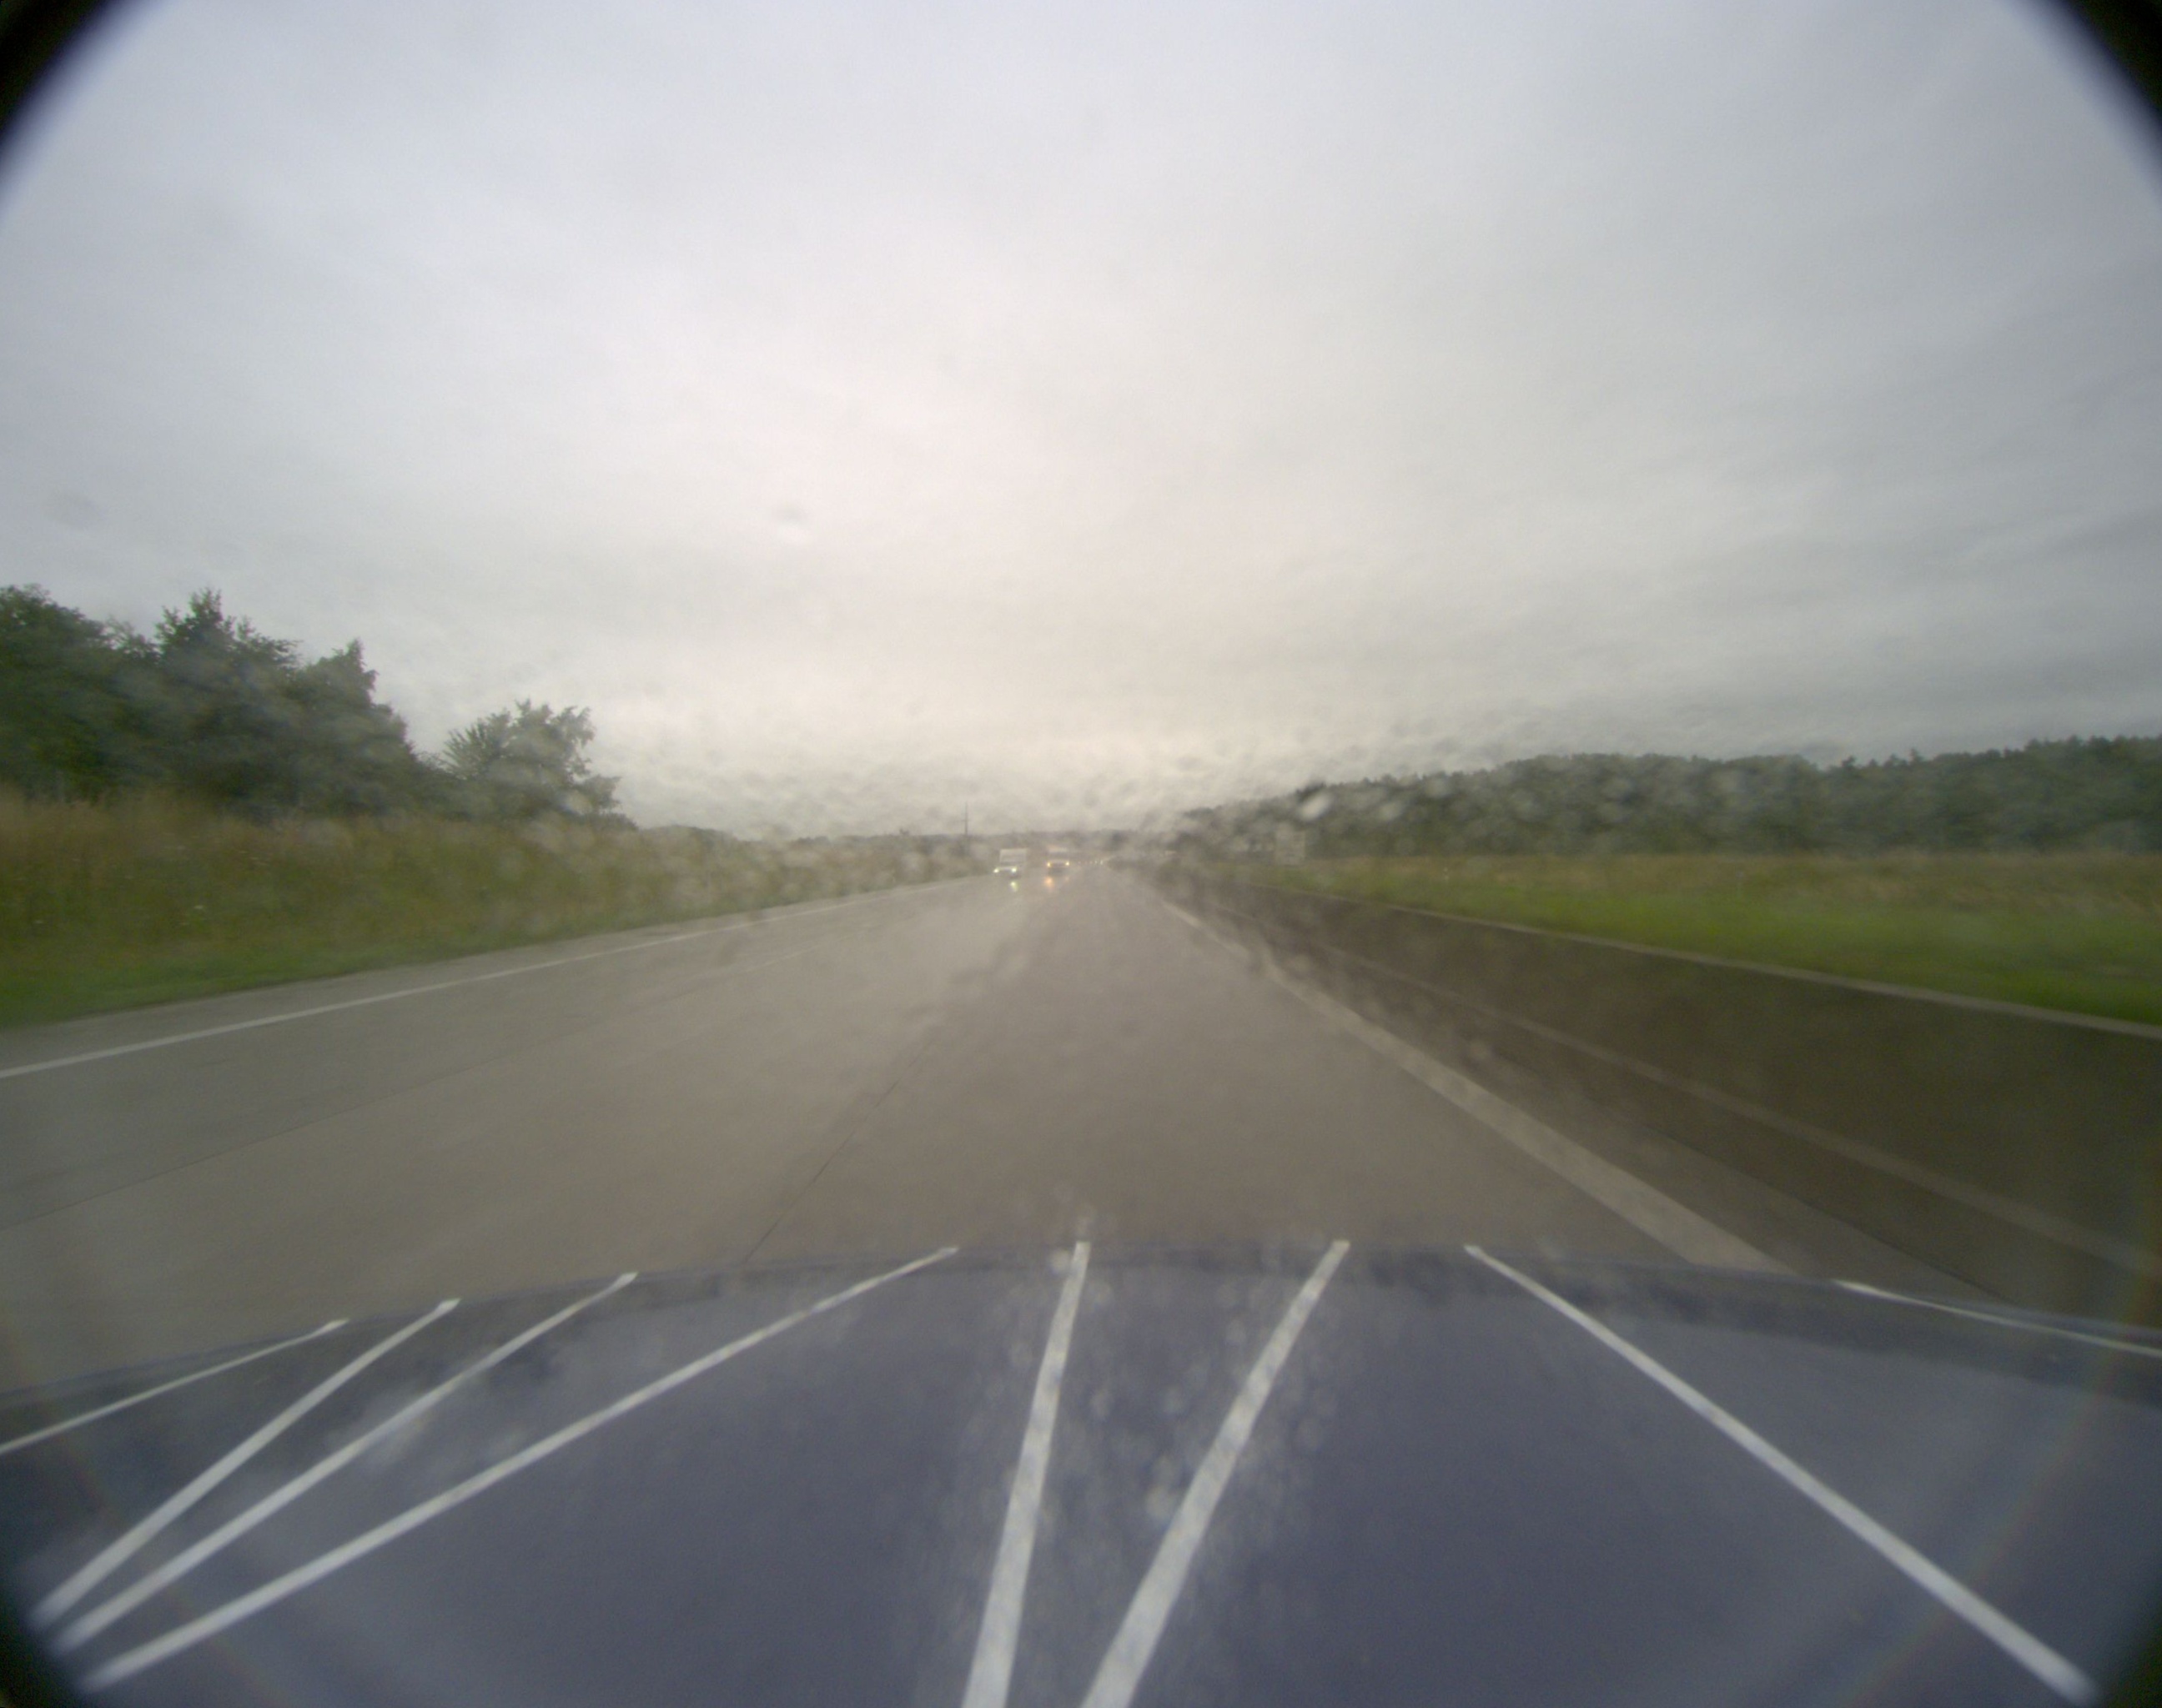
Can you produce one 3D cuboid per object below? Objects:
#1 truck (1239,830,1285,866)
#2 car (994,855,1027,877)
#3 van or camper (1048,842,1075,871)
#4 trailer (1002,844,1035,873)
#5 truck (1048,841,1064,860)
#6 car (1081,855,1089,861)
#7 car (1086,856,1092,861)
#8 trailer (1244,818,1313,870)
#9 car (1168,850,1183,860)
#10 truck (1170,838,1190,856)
[{"bbox_3d":[18.172,-0.569,76.684,3.205,3.453,6.036,-1,0,1],"label":"truck"},{"bbox_3d":[-5.636,0.926,61.319,1.998,1.576,5.952,-2,1,1],"label":"car"},{"bbox_3d":[-1.811,0.212,72.984,2.233,2.537,7.950,-1,0,1],"label":"van or camper"},{"bbox_3d":[-5.459,0.337,67.281,2.349,2.445,5.938,0,2,1],"label":"trailer"},{"bbox_3d":[-4.327,-0.643,132.974,2.496,3.197,7.071,-1,0,1],"label":"truck"},{"bbox_3d":[1.110,1.143,217.217,1.998,1.576,5.011,-1,0,2],"label":"car"},{"bbox_3d":[2.526,1.302,245.693,1.998,1.576,5.011,-1,0,2],"label":"car"},{"bbox_3d":[18.034,-0.890,70.611,3.236,4.315,13.553,-1,0,2],"label":"trailer"},{"bbox_3d":[14.579,0.154,117.654,1.832,1.587,4.000,-1,0,1],"label":"car"},{"bbox_3d":[19.211,-1.308,147.589,3.261,3.314,6.036,-1,0,1],"label":"truck"}]
